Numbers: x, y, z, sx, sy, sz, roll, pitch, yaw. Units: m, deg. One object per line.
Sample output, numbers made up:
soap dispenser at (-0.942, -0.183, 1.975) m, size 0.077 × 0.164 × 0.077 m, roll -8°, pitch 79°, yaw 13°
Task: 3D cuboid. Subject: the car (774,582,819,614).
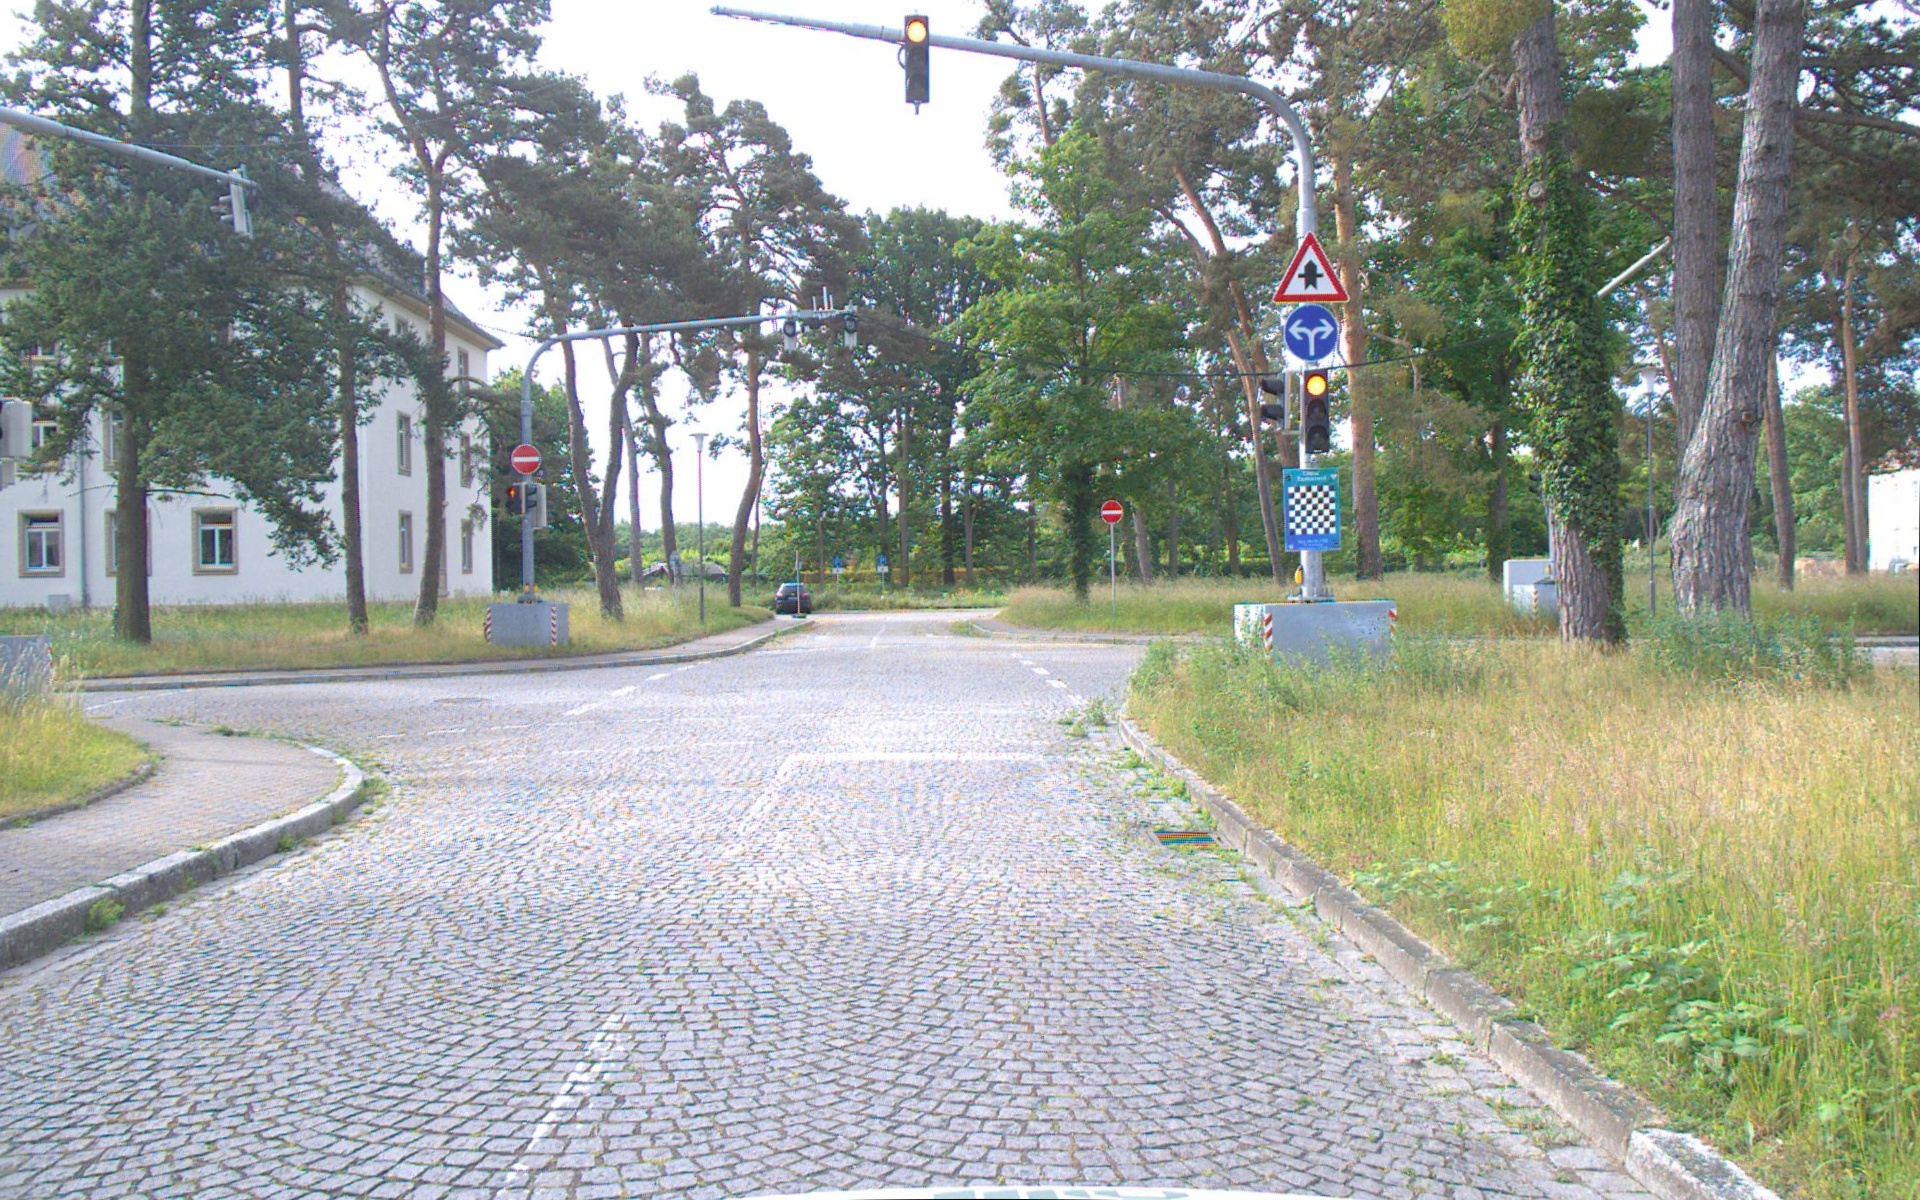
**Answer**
car at (-8.367, -0.122, 84.966) m, size 1.953 × 1.534 × 4.000 m, roll 1°, pitch 1°, yaw -1°
